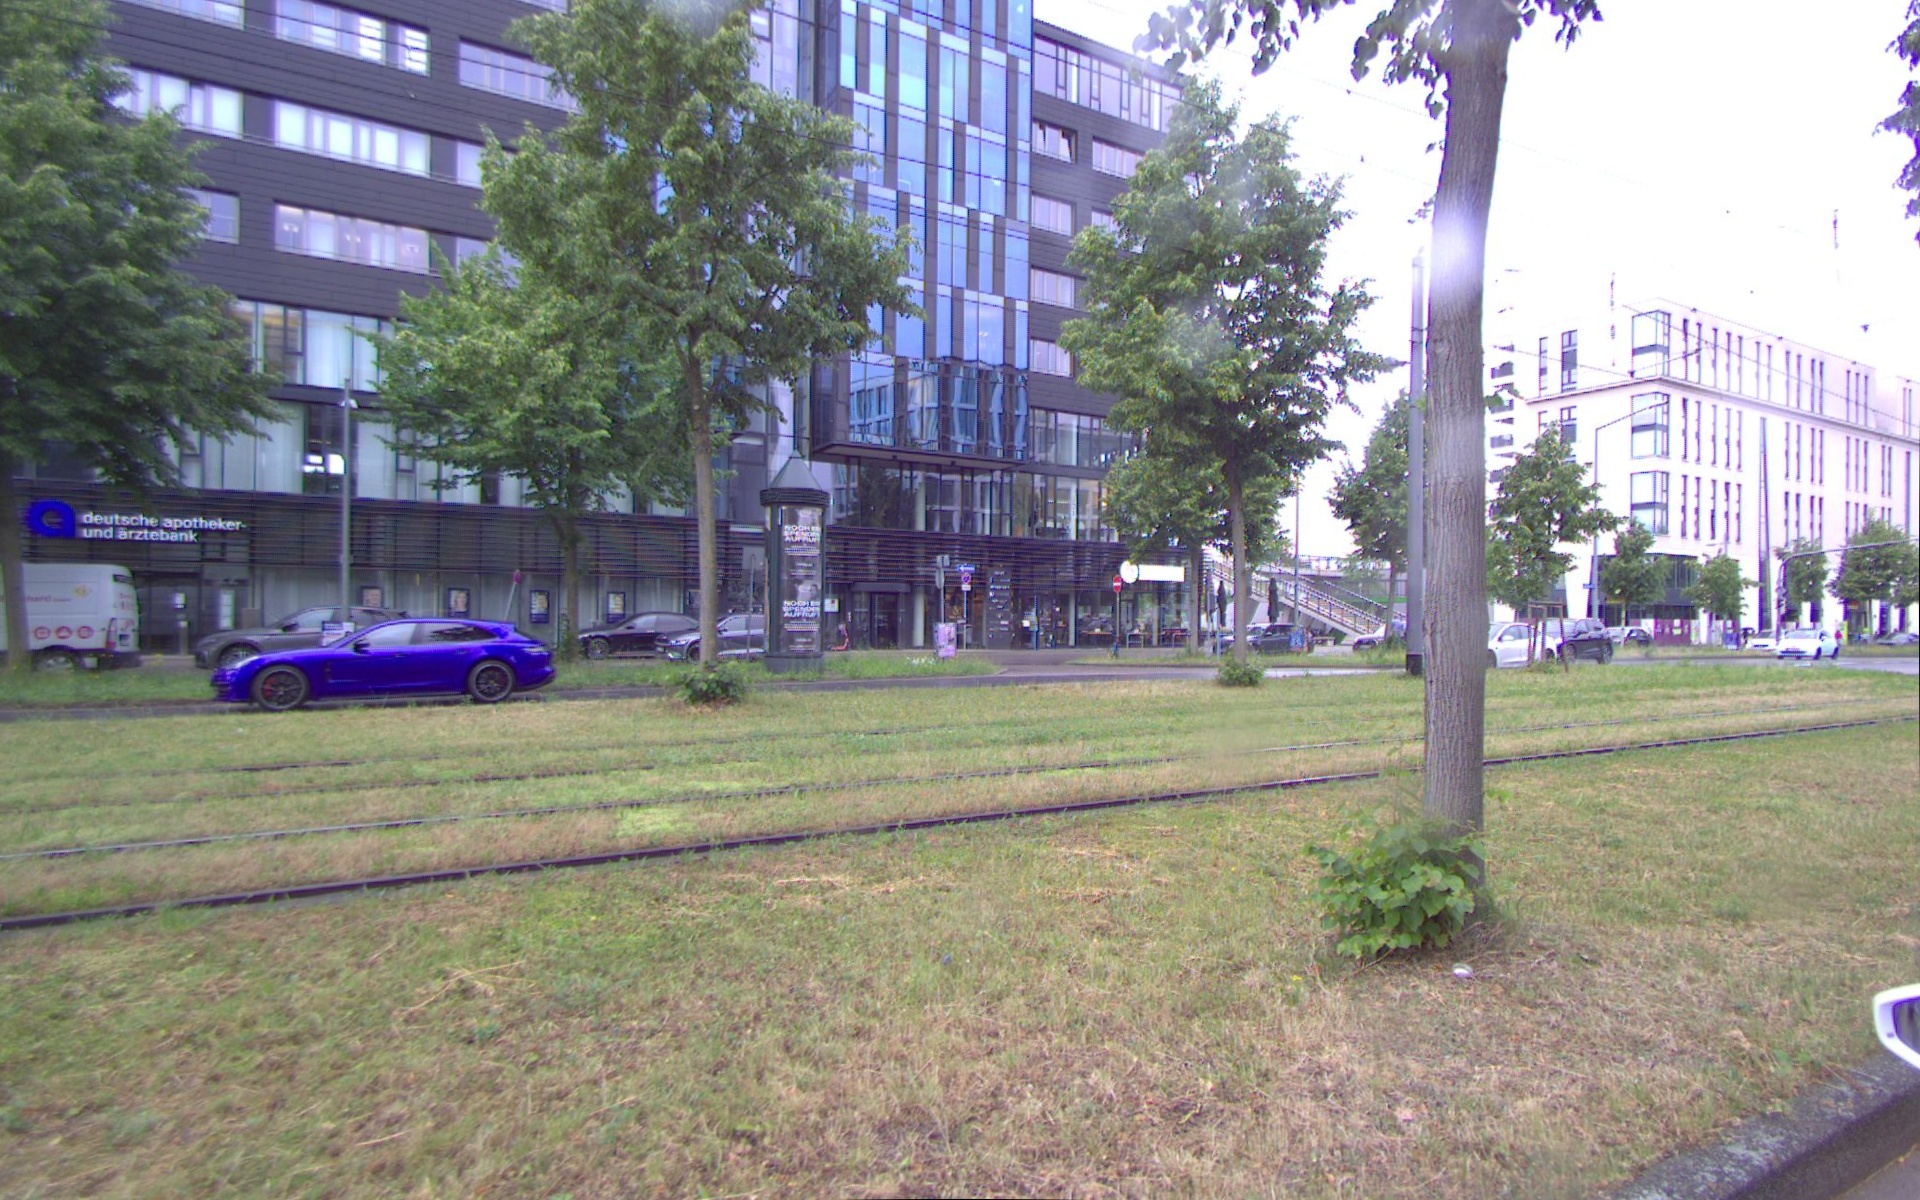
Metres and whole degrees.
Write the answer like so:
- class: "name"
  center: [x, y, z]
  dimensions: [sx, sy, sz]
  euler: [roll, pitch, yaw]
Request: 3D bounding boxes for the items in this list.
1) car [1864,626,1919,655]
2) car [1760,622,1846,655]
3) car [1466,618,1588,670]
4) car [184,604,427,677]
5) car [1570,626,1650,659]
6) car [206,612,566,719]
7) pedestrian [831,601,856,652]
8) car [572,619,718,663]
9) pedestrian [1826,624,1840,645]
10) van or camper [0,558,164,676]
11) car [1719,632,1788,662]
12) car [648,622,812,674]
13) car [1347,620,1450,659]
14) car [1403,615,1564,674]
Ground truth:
- class: "car"
  center: [64.736, 2.787, 69.622]
  dimensions: [3.953, 1.862, 1.984]
  euler: [1, 0, -31]
- class: "car"
  center: [41.381, 1.848, 49.305]
  dimensions: [4.396, 1.504, 1.983]
  euler: [1, 0, -32]
- class: "car"
  center: [19.507, 1.476, 34.540]
  dimensions: [3.955, 1.639, 1.983]
  euler: [1, -1, -32]
- class: "car"
  center: [-15.096, 0.901, 23.478]
  dimensions: [4.554, 1.542, 1.983]
  euler: [1, 0, -31]
- class: "car"
  center: [34.177, 2.196, 52.765]
  dimensions: [4.399, 1.620, 1.981]
  euler: [1, 0, -34]
- class: "car"
  center: [-9.394, 1.013, 16.819]
  dimensions: [4.954, 1.542, 1.983]
  euler: [1, 0, -31]
- class: "pedestrian"
  center: [-4.793, 1.074, 41.207]
  dimensions: [0.782, 2.040, 0.699]
  euler: [1, 0, -28]
- class: "car"
  center: [-10.551, 1.361, 33.693]
  dimensions: [4.397, 1.368, 1.743]
  euler: [1, 0, -31]
- class: "pedestrian"
  center: [74.352, 2.940, 85.569]
  dimensions: [0.732, 1.740, 0.633]
  euler: [1, 0, -27]
- class: "van or camper"
  center: [-20.223, 0.323, 20.560]
  dimensions: [5.780, 2.346, 2.422]
  euler: [1, 0, -30]
- class: "car"
  center: [47.030, 2.750, 59.521]
  dimensions: [3.955, 1.639, 1.983]
  euler: [1, -1, -32]
- class: "car"
  center: [-7.249, 1.481, 31.750]
  dimensions: [4.676, 1.424, 1.984]
  euler: [1, 1, -30]
- class: "car"
  center: [18.717, 1.649, 42.794]
  dimensions: [4.399, 1.504, 1.981]
  euler: [1, 0, -34]
- class: "car"
  center: [14.649, 1.203, 28.063]
  dimensions: [4.394, 1.504, 1.984]
  euler: [1, 0, -31]
